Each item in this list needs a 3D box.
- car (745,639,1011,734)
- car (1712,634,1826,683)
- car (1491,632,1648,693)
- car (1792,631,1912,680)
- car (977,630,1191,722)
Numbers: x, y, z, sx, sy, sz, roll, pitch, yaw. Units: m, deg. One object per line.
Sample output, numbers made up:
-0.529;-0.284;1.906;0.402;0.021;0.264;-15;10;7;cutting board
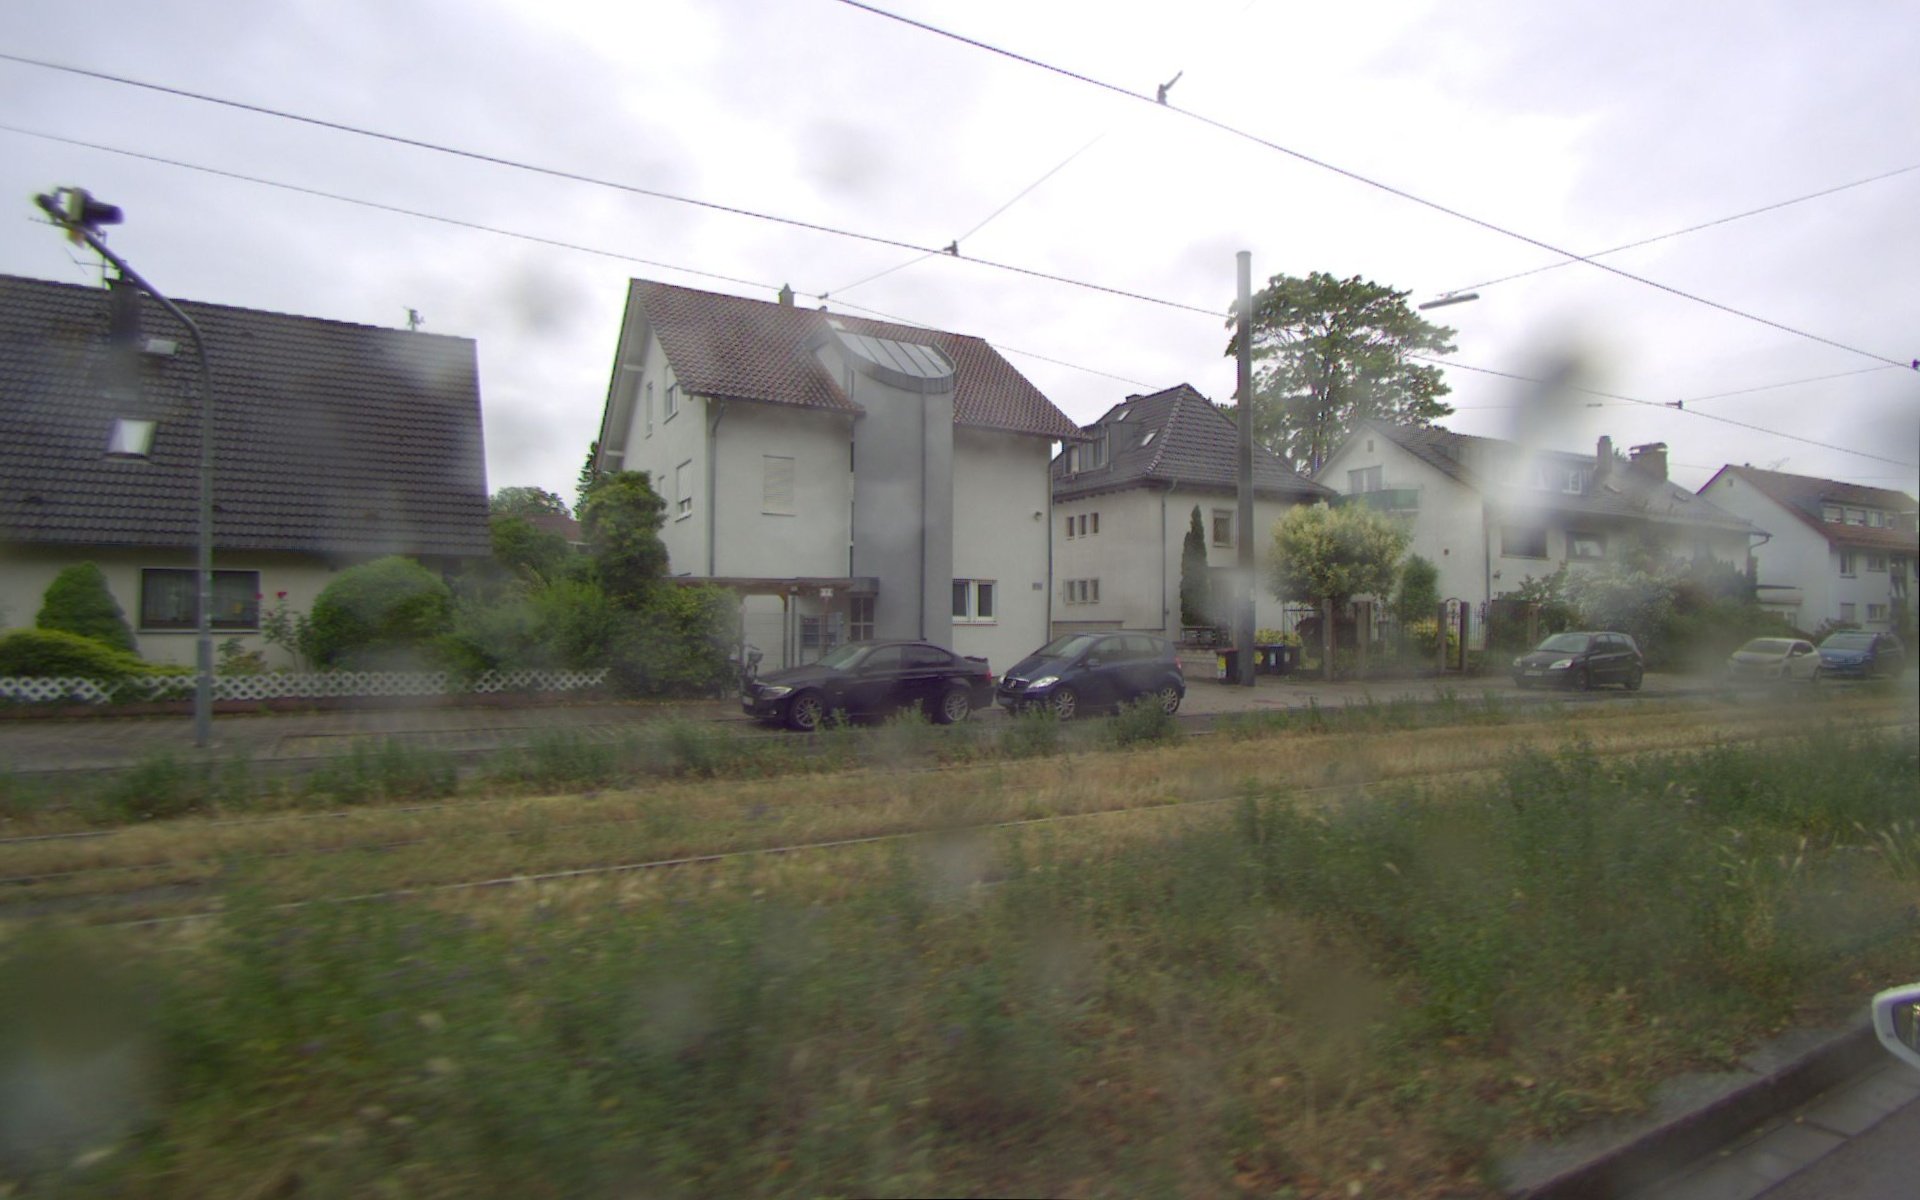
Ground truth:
-1.402;1.408;17.475;4.188;1.368;1.985;1;0;-29;car
27.360;1.934;33.968;3.553;1.508;1.788;1;0;-29;car
17.225;1.699;28.376;4.154;1.536;1.985;1;0;-29;car
33.028;2.009;37.196;4.359;1.635;1.985;1;0;-29;car
2.439;1.403;19.614;3.825;1.571;1.864;1;0;-31;car
